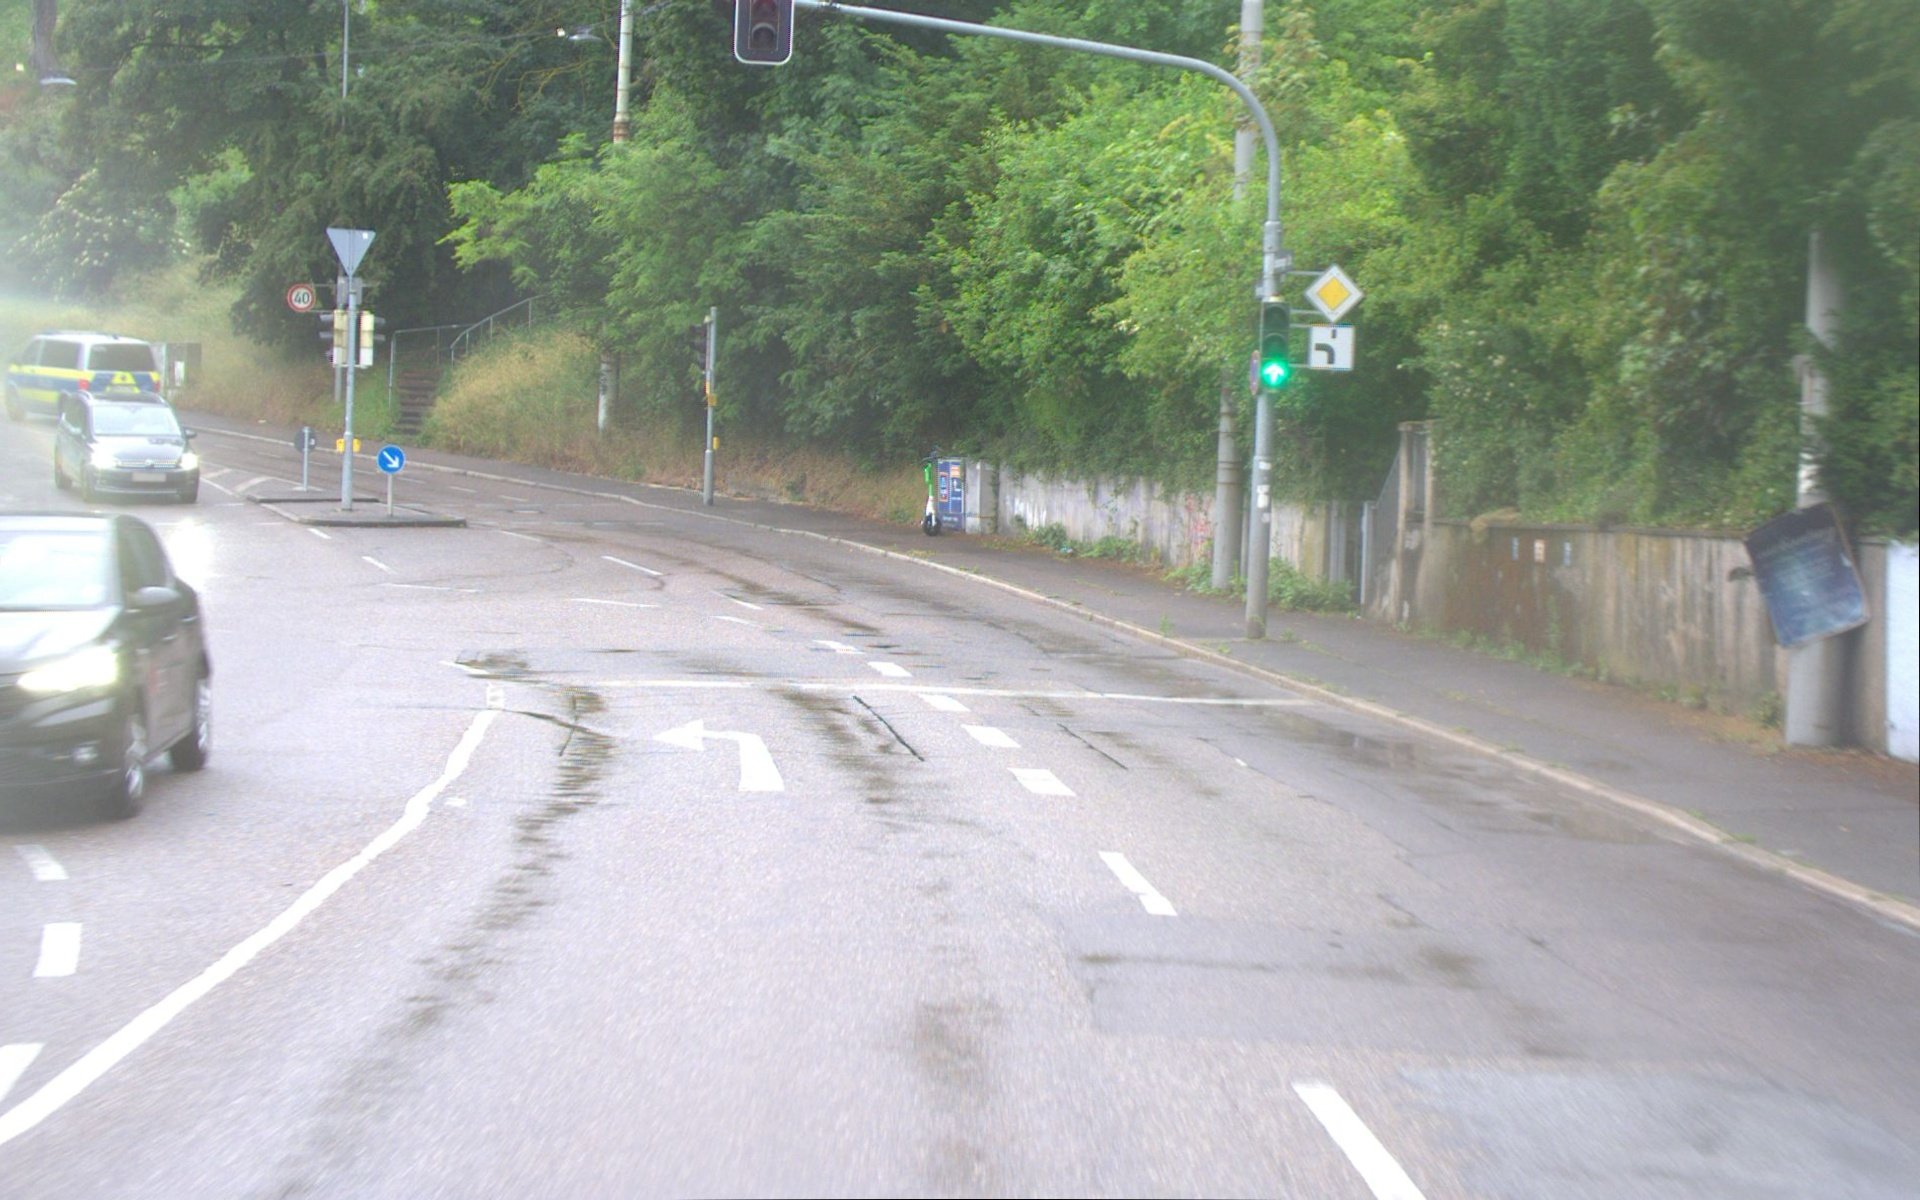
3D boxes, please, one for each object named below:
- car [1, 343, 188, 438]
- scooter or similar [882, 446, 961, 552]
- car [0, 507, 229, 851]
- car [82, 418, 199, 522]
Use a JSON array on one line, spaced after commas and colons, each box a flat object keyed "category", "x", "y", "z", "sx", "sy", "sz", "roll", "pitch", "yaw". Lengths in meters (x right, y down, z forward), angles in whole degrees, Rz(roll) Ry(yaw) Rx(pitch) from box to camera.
[{"category": "car", "x": -18.568, "y": -4.508, "z": 73.645, "sx": 2.309, "sy": 1.932, "sz": 4.324, "roll": -4, "pitch": 5, "yaw": -37}, {"category": "scooter or similar", "x": -0.577, "y": -1.508, "z": 50.781, "sx": 0.616, "sy": 1.416, "sz": 2.160, "roll": -1, "pitch": 6, "yaw": -16}, {"category": "car", "x": -4.921, "y": 0.323, "z": 17.749, "sx": 1.741, "sy": 1.545, "sz": 4.001, "roll": -1, "pitch": 2, "yaw": -5}, {"category": "car", "x": -13.472, "y": -2.167, "z": 56.385, "sx": 1.740, "sy": 1.544, "sz": 4.002, "roll": -2, "pitch": 4, "yaw": -14}]
